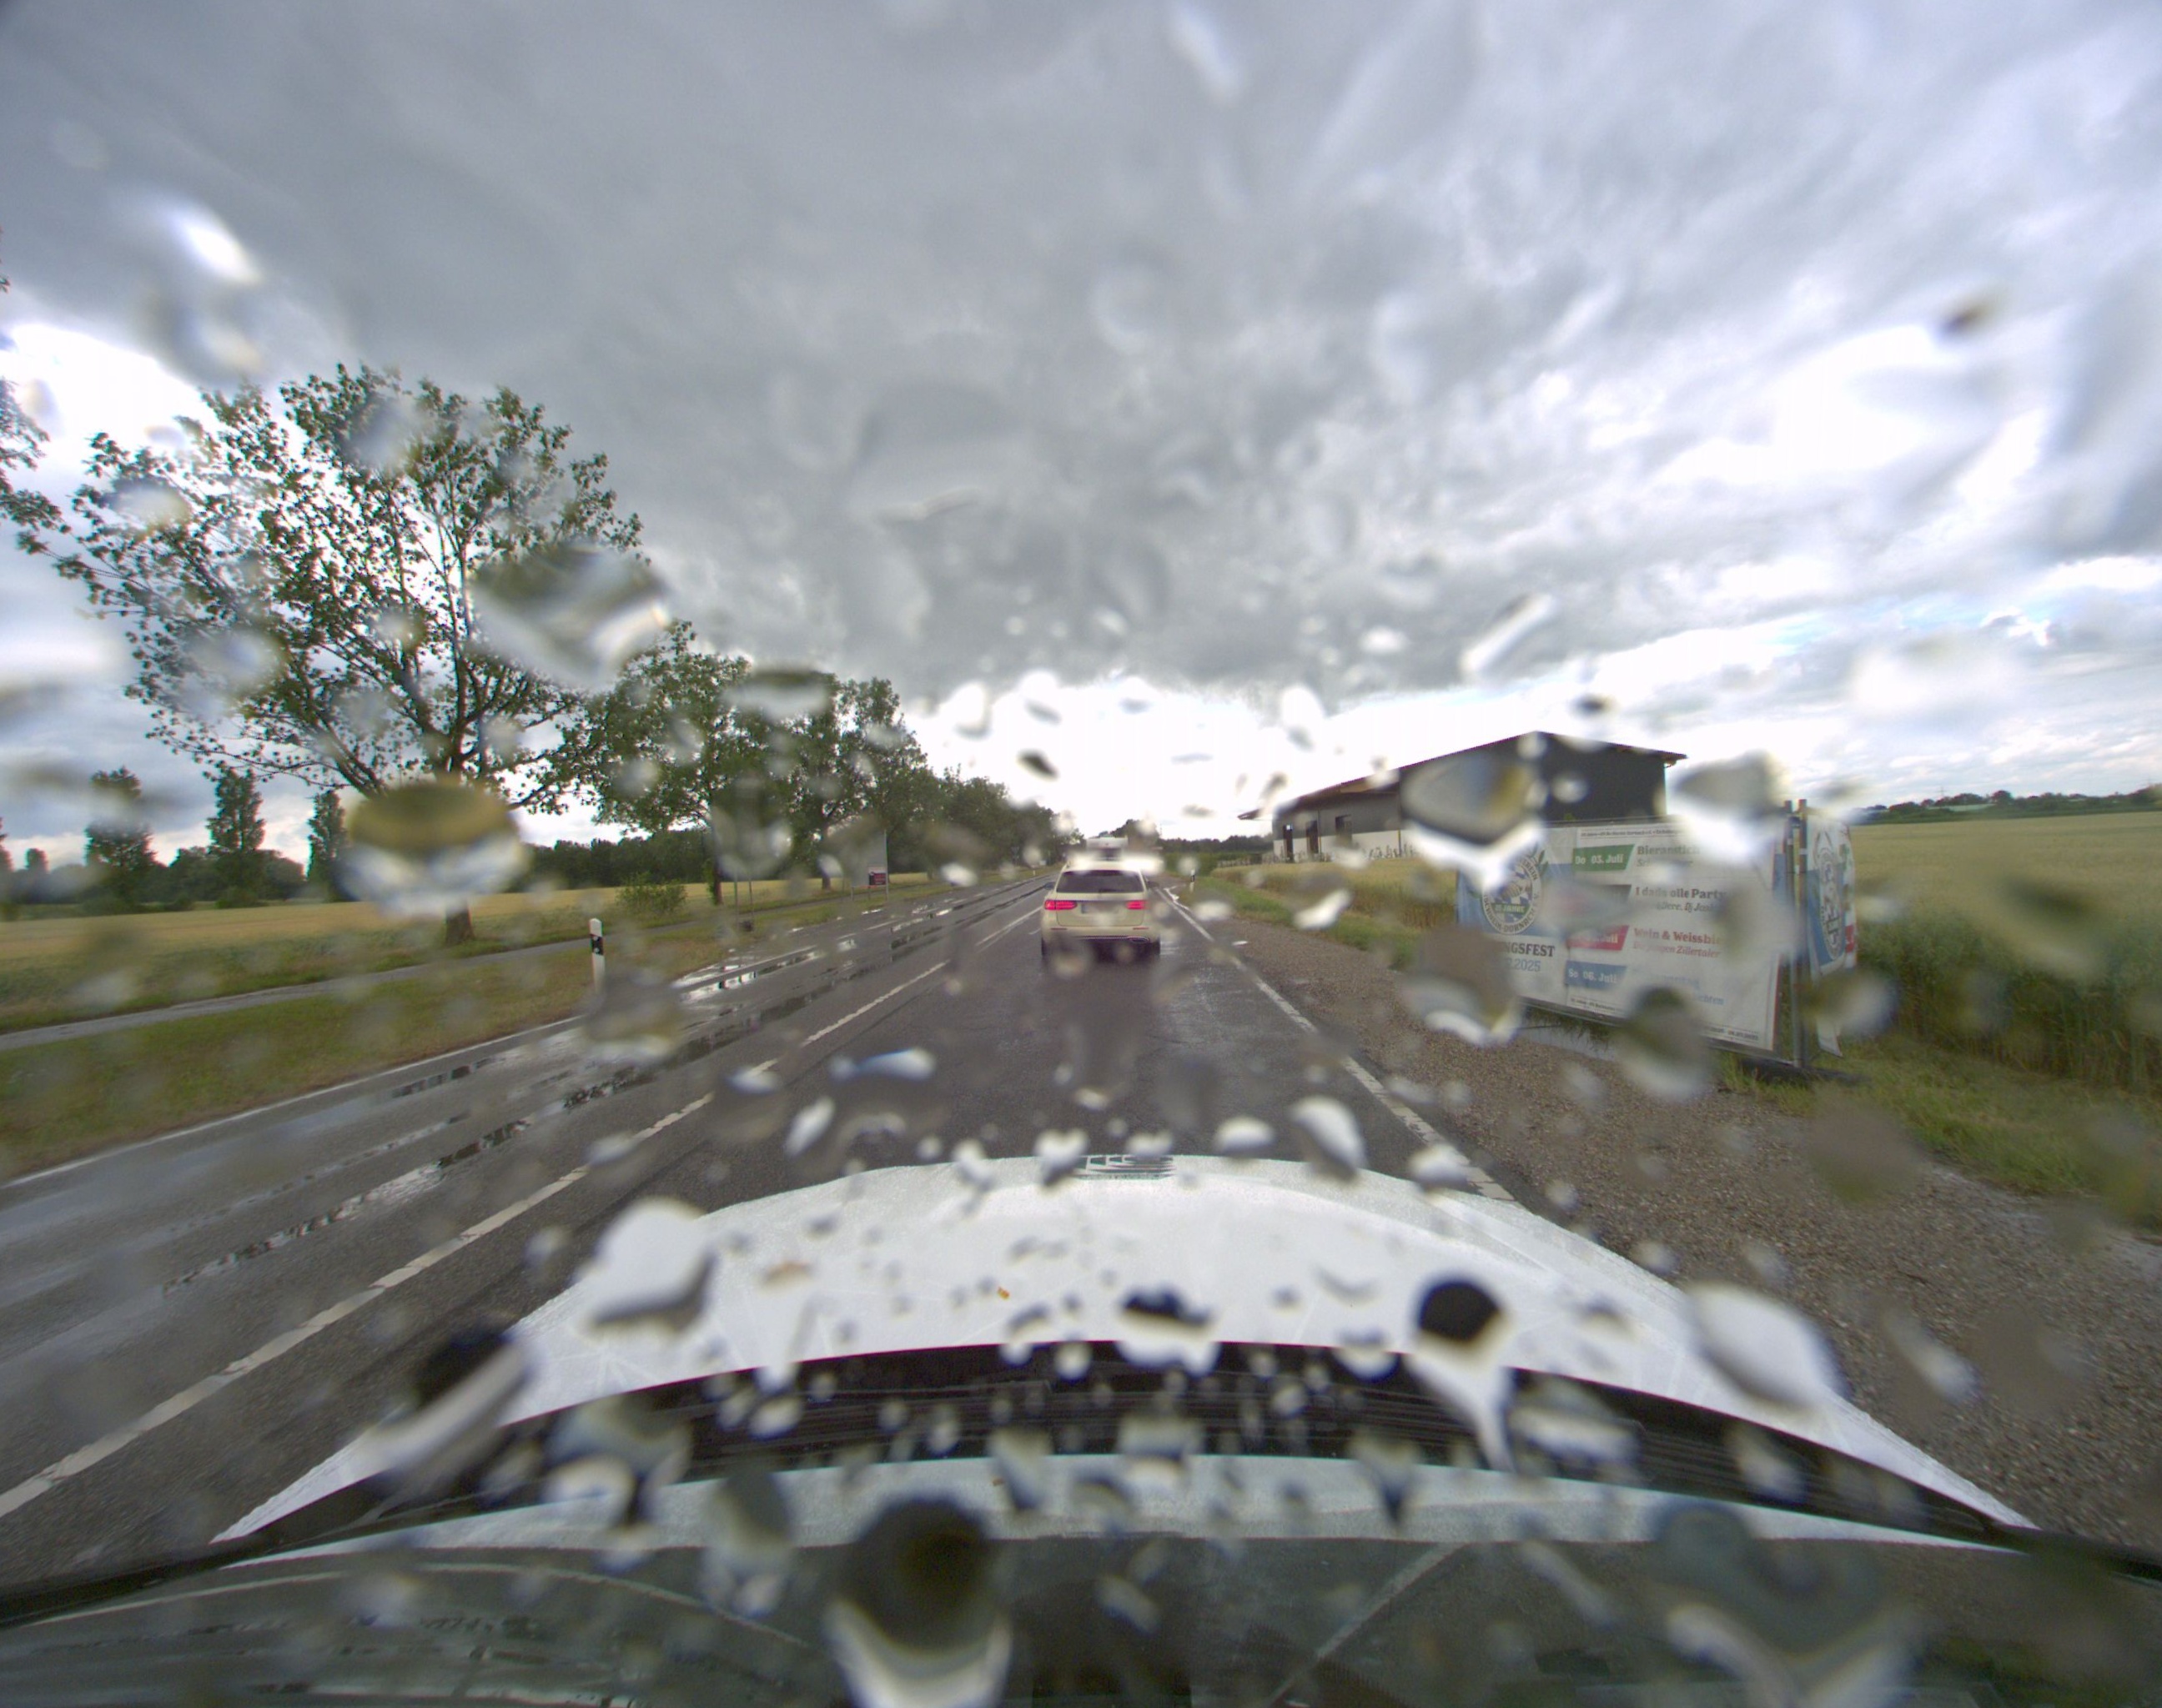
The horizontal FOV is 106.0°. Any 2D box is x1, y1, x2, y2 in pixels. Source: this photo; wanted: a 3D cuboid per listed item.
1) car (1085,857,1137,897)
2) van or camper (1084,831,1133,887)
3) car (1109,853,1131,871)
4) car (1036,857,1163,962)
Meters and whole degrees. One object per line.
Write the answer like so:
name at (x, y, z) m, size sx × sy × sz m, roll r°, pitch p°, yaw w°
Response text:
car at (1.192, 0.878, 32.374) m, size 1.887 × 1.429 × 3.929 m, roll -2°, pitch 0°, yaw 2°
van or camper at (1.641, 0.286, 46.797) m, size 2.486 × 2.831 × 5.939 m, roll -3°, pitch 0°, yaw 3°
car at (3.690, 0.690, 76.333) m, size 1.885 × 1.590 × 3.933 m, roll -2°, pitch 0°, yaw 5°
car at (0.364, 0.802, 13.613) m, size 1.790 × 1.464 × 4.033 m, roll -1°, pitch 0°, yaw 3°
